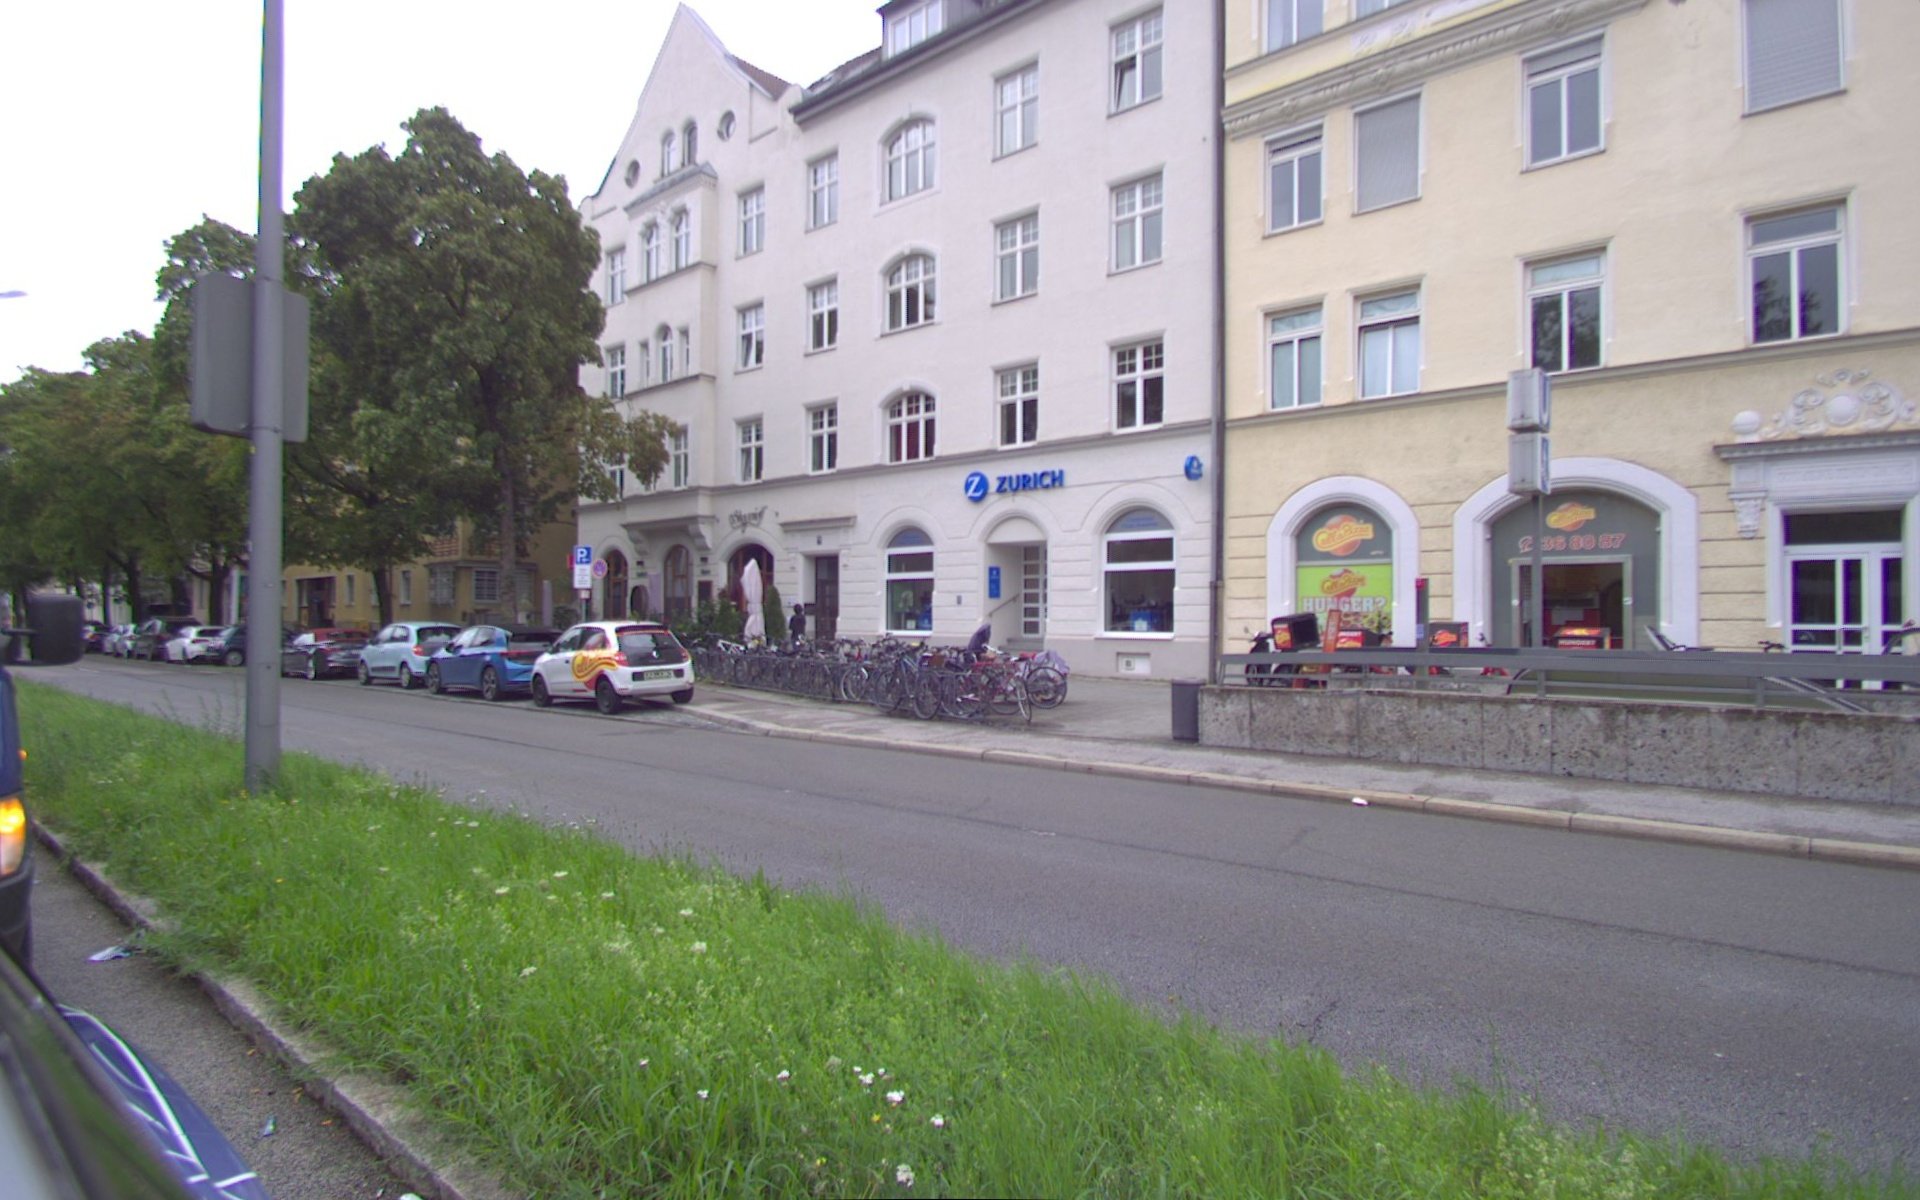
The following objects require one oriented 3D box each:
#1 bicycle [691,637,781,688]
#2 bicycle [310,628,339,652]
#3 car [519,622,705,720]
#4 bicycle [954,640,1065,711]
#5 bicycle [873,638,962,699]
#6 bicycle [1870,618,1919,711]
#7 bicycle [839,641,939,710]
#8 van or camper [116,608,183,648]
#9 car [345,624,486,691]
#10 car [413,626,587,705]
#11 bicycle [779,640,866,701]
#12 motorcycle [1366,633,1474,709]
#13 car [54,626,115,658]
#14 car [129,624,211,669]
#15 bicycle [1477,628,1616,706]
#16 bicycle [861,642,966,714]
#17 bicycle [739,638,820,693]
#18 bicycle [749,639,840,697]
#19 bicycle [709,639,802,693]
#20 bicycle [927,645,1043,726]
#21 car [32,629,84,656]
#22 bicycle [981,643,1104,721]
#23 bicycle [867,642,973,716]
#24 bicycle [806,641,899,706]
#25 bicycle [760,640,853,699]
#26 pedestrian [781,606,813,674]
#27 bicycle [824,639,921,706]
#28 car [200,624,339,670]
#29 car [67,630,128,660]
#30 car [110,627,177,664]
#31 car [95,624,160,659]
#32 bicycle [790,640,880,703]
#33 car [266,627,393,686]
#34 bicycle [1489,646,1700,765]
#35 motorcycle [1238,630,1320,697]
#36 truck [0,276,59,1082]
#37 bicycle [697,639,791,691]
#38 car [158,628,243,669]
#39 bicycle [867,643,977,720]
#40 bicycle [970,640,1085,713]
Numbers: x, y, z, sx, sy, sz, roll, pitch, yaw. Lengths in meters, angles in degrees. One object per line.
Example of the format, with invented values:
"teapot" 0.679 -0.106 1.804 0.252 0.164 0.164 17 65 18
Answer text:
"bicycle" -5.023 1.398 22.662 1.944 1.124 0.457 -1 -1 10
"bicycle" -33.214 2.087 52.886 1.929 1.231 0.762 -1 -2 41
"car" -6.439 1.208 18.546 3.790 1.597 1.631 -1 -2 43
"bicycle" 0.814 1.234 16.709 1.799 1.124 0.394 -1 -2 18
"bicycle" -0.813 1.277 19.173 1.667 1.124 0.328 -1 -2 18
"bicycle" 10.652 0.676 10.668 1.544 0.988 0.468 -1 -2 41
"bicycle" -1.199 1.250 16.995 1.667 1.124 0.328 -1 -2 18
"van or camper" -54.955 1.891 68.565 6.847 2.599 2.321 -1 -2 41
"car" -13.445 1.356 24.926 3.958 1.518 1.792 -1 -2 41
"car" -9.921 1.324 21.673 4.289 1.518 1.792 -1 -2 41
"bicycle" -2.623 1.322 19.260 1.667 1.124 0.328 -1 -2 18
"motorcycle" 7.482 1.124 16.579 0.600 1.130 1.991 0 -1 -9
"car" -47.187 2.221 54.507 4.768 1.658 1.859 -1 -2 41
"car" -32.757 1.885 41.902 4.765 1.741 1.791 -1 -2 41
"bicycle" 7.836 0.870 13.570 1.544 0.988 0.468 -1 -2 41
"bicycle" -0.759 1.243 16.401 1.667 1.124 0.365 -1 -2 18
"bicycle" -3.736 1.351 20.952 1.664 1.124 0.329 -1 -1 14
"bicycle" -3.333 1.349 20.340 1.859 1.124 0.328 -1 -2 18
"bicycle" -4.337 1.394 21.505 1.860 1.124 0.548 -1 -1 10
"bicycle" 0.356 1.228 14.693 1.667 1.124 0.328 -1 -2 18
"car" -51.960 2.415 58.252 4.490 1.465 1.674 -1 -2 41
"bicycle" 1.228 1.205 15.155 1.799 1.124 0.394 -1 -2 18
"bicycle" -0.635 1.226 15.940 1.667 1.124 0.328 -1 -2 18
"bicycle" -1.923 1.304 18.104 1.667 1.124 0.328 -1 -2 18
"bicycle" -3.012 1.348 19.822 1.859 1.124 0.328 -1 -2 18
"pedestrian" -4.039 0.982 25.026 0.416 1.644 0.784 1 -2 -43
"bicycle" -1.516 1.249 17.542 1.667 1.124 0.380 -1 -2 18
"car" -25.084 1.670 36.851 1.730 1.475 3.851 -1 -1 39
"car" -42.984 2.204 50.412 4.361 1.416 1.709 -1 -2 41
"car" -36.166 1.981 44.804 3.007 1.569 1.710 -1 -2 39
"car" -39.234 1.913 47.676 4.055 1.573 1.709 -1 -2 41
"bicycle" -2.321 1.310 18.724 1.667 1.124 0.328 -1 -2 18
"car" -17.882 1.527 28.611 4.643 1.518 1.792 -1 -2 41
"bicycle" 6.511 1.051 10.471 1.808 1.124 0.392 -1 -2 33
"motorcycle" 5.869 1.142 18.747 0.600 1.139 1.991 0 -1 -9
"truck" -5.483 0.273 4.198 5.148 2.508 1.973 -1 -2 41
"bicycle" -4.709 1.411 22.092 1.966 1.124 0.503 -1 -1 10
"car" -28.626 1.782 38.098 4.401 1.413 1.708 -1 -2 41
"bicycle" -0.585 1.233 15.511 1.667 1.124 0.366 -1 -2 18
"bicycle" 1.072 1.200 16.155 1.799 1.124 0.394 -1 -2 18
